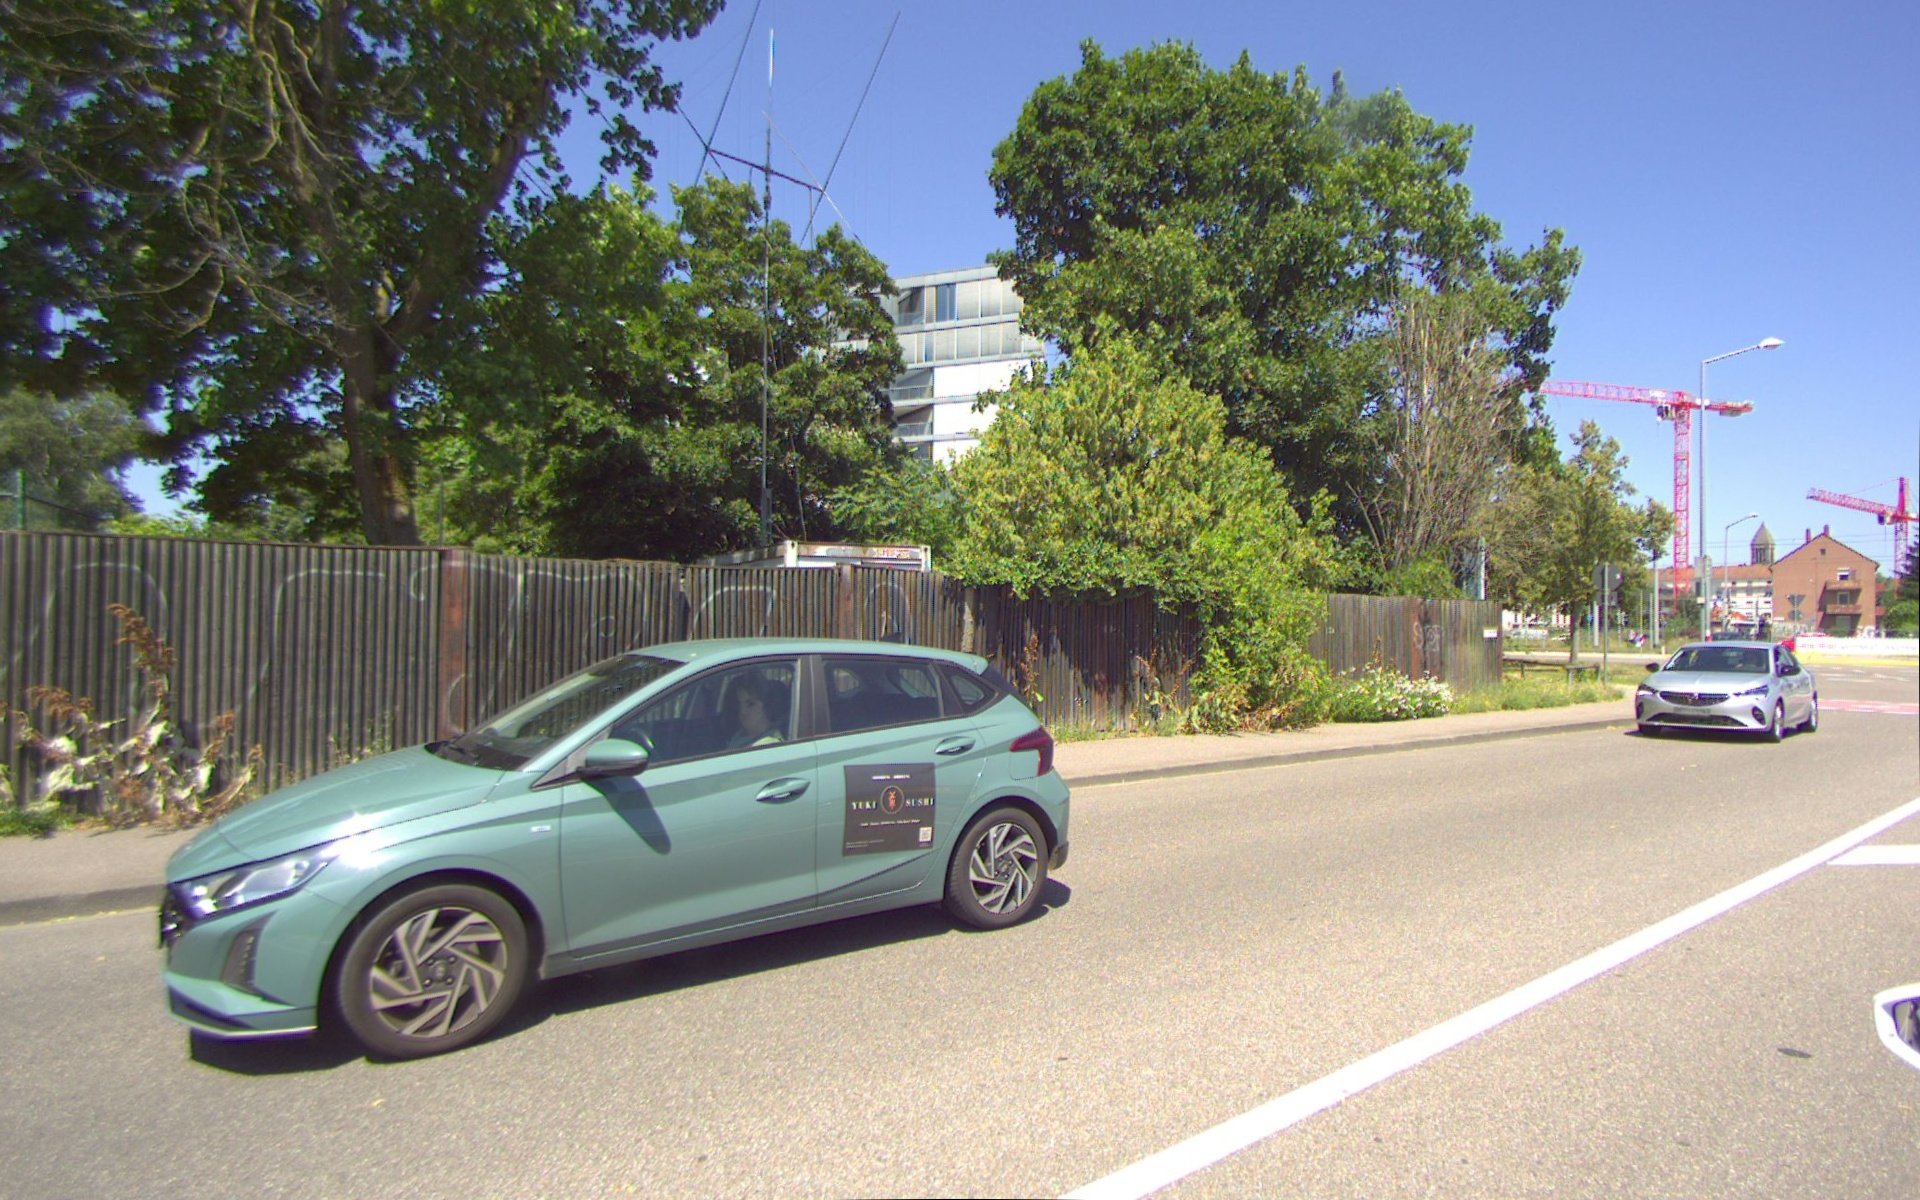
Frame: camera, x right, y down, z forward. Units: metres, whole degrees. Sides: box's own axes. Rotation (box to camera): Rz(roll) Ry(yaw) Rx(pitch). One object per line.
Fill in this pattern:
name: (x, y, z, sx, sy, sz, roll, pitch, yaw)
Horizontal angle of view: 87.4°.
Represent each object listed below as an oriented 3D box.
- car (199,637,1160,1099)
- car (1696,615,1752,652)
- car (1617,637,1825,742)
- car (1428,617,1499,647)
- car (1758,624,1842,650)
car: (-1.106, 0.898, 5.080, 4.289, 1.390, 1.735, 1, -2, -36)
car: (38.222, 1.642, 50.224, 1.732, 1.728, 3.975, 2, 0, 44)
car: (12.006, 1.327, 15.755, 4.237, 1.420, 1.713, 2, -4, -41)
car: (44.166, 2.772, 88.245, 1.972, 2.429, 5.281, 2, 0, -32)
car: (61.329, 2.679, 73.407, 4.258, 1.676, 1.902, 2, 0, 11)
